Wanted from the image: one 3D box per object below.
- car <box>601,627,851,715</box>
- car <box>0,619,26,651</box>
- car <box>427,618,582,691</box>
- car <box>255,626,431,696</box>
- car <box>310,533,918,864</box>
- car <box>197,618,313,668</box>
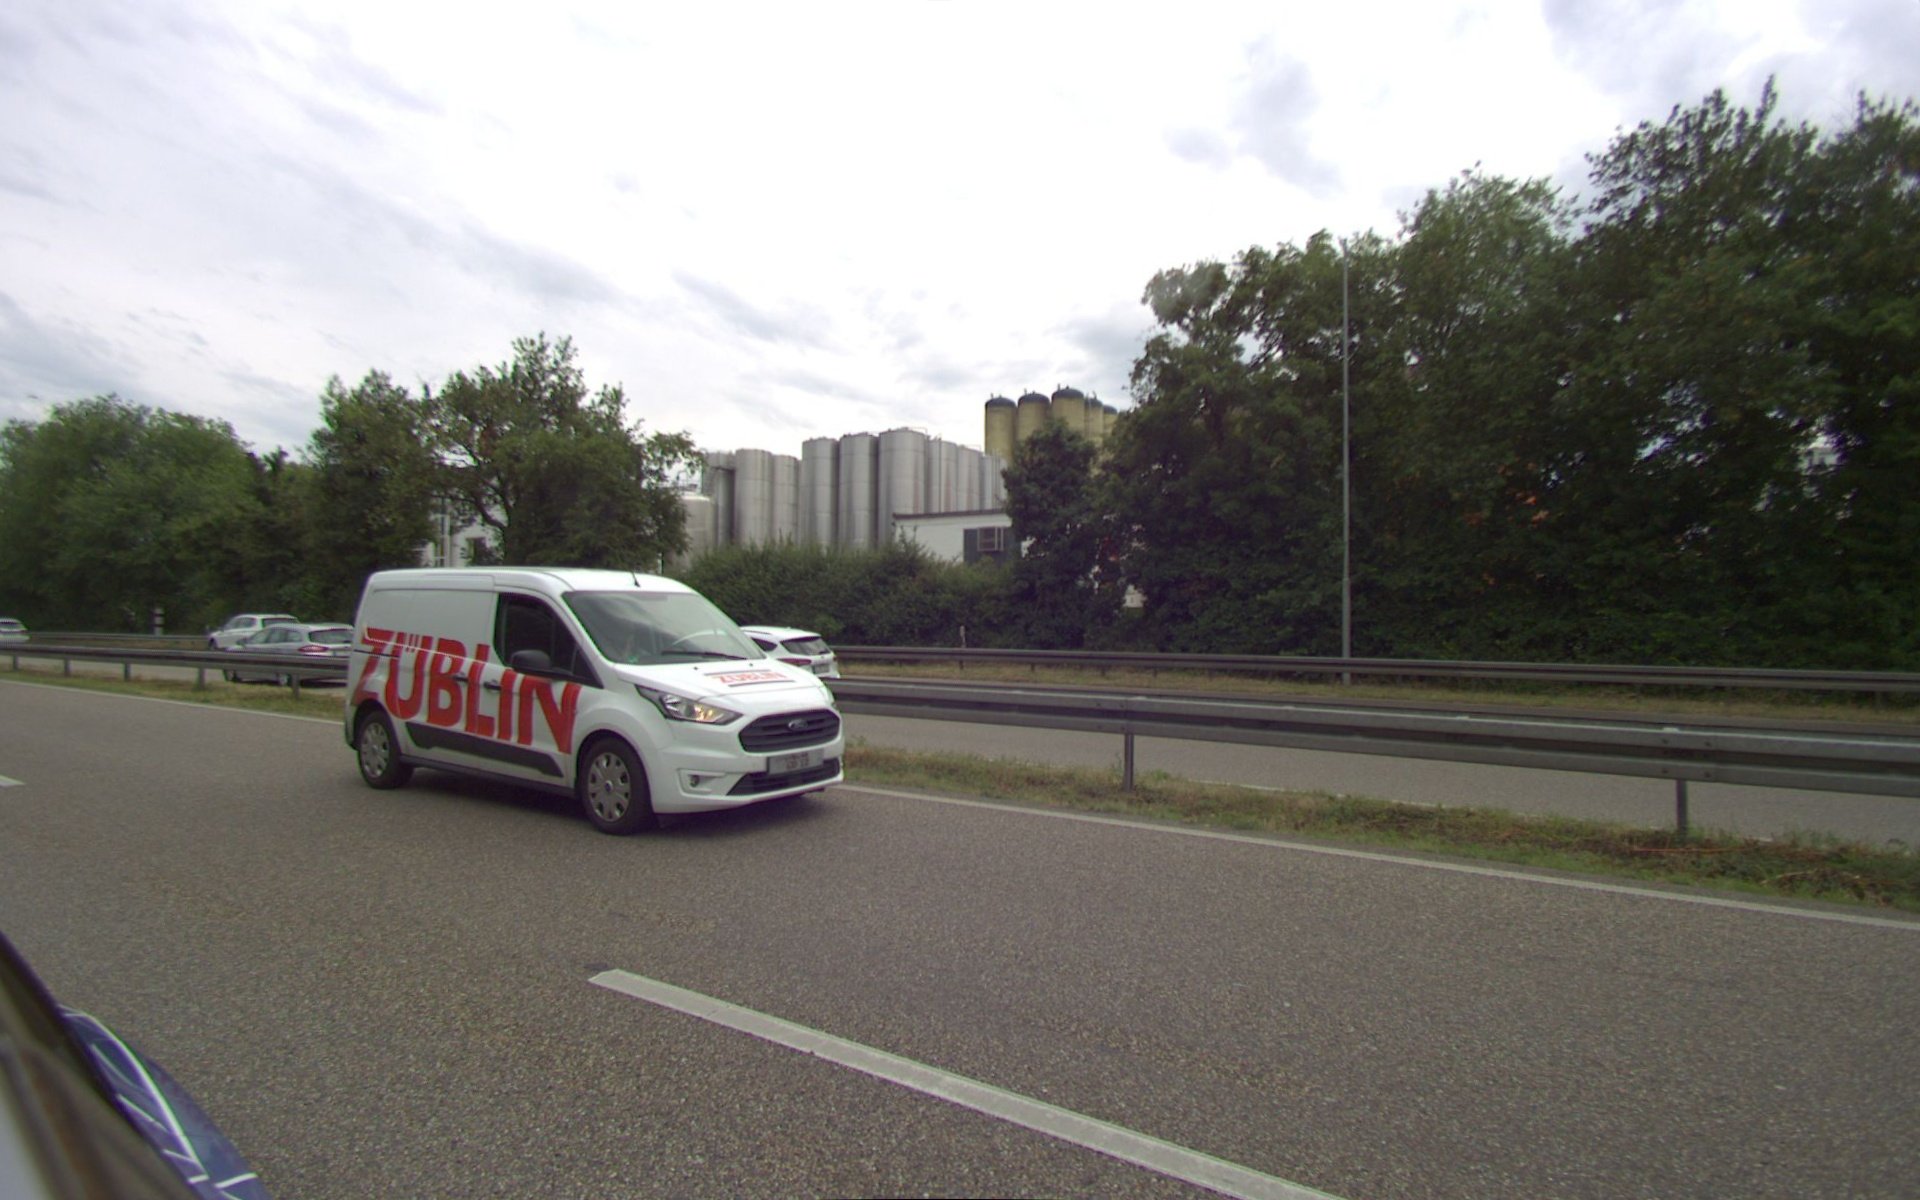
[{"bbox_3d":[-4.448,1.260,19.082,4.642,1.460,1.671,-1,-2,28],"label":"car"},{"bbox_3d":[-45.617,1.646,47.486,3.985,1.467,1.593,-1,-2,31],"label":"car"},{"bbox_3d":[-11.858,1.356,26.282,4.264,1.780,1.562,-1,-2,32],"label":"car"},{"bbox_3d":[-14.349,1.348,23.488,4.243,1.457,1.831,-1,-2,33],"label":"car"},{"bbox_3d":[-2.875,0.602,7.886,4.993,1.864,1.831,-1,-2,34],"label":"car"},{"bbox_3d":[-25.684,1.508,36.823,4.747,1.646,1.714,0,0,31],"label":"car"}]
